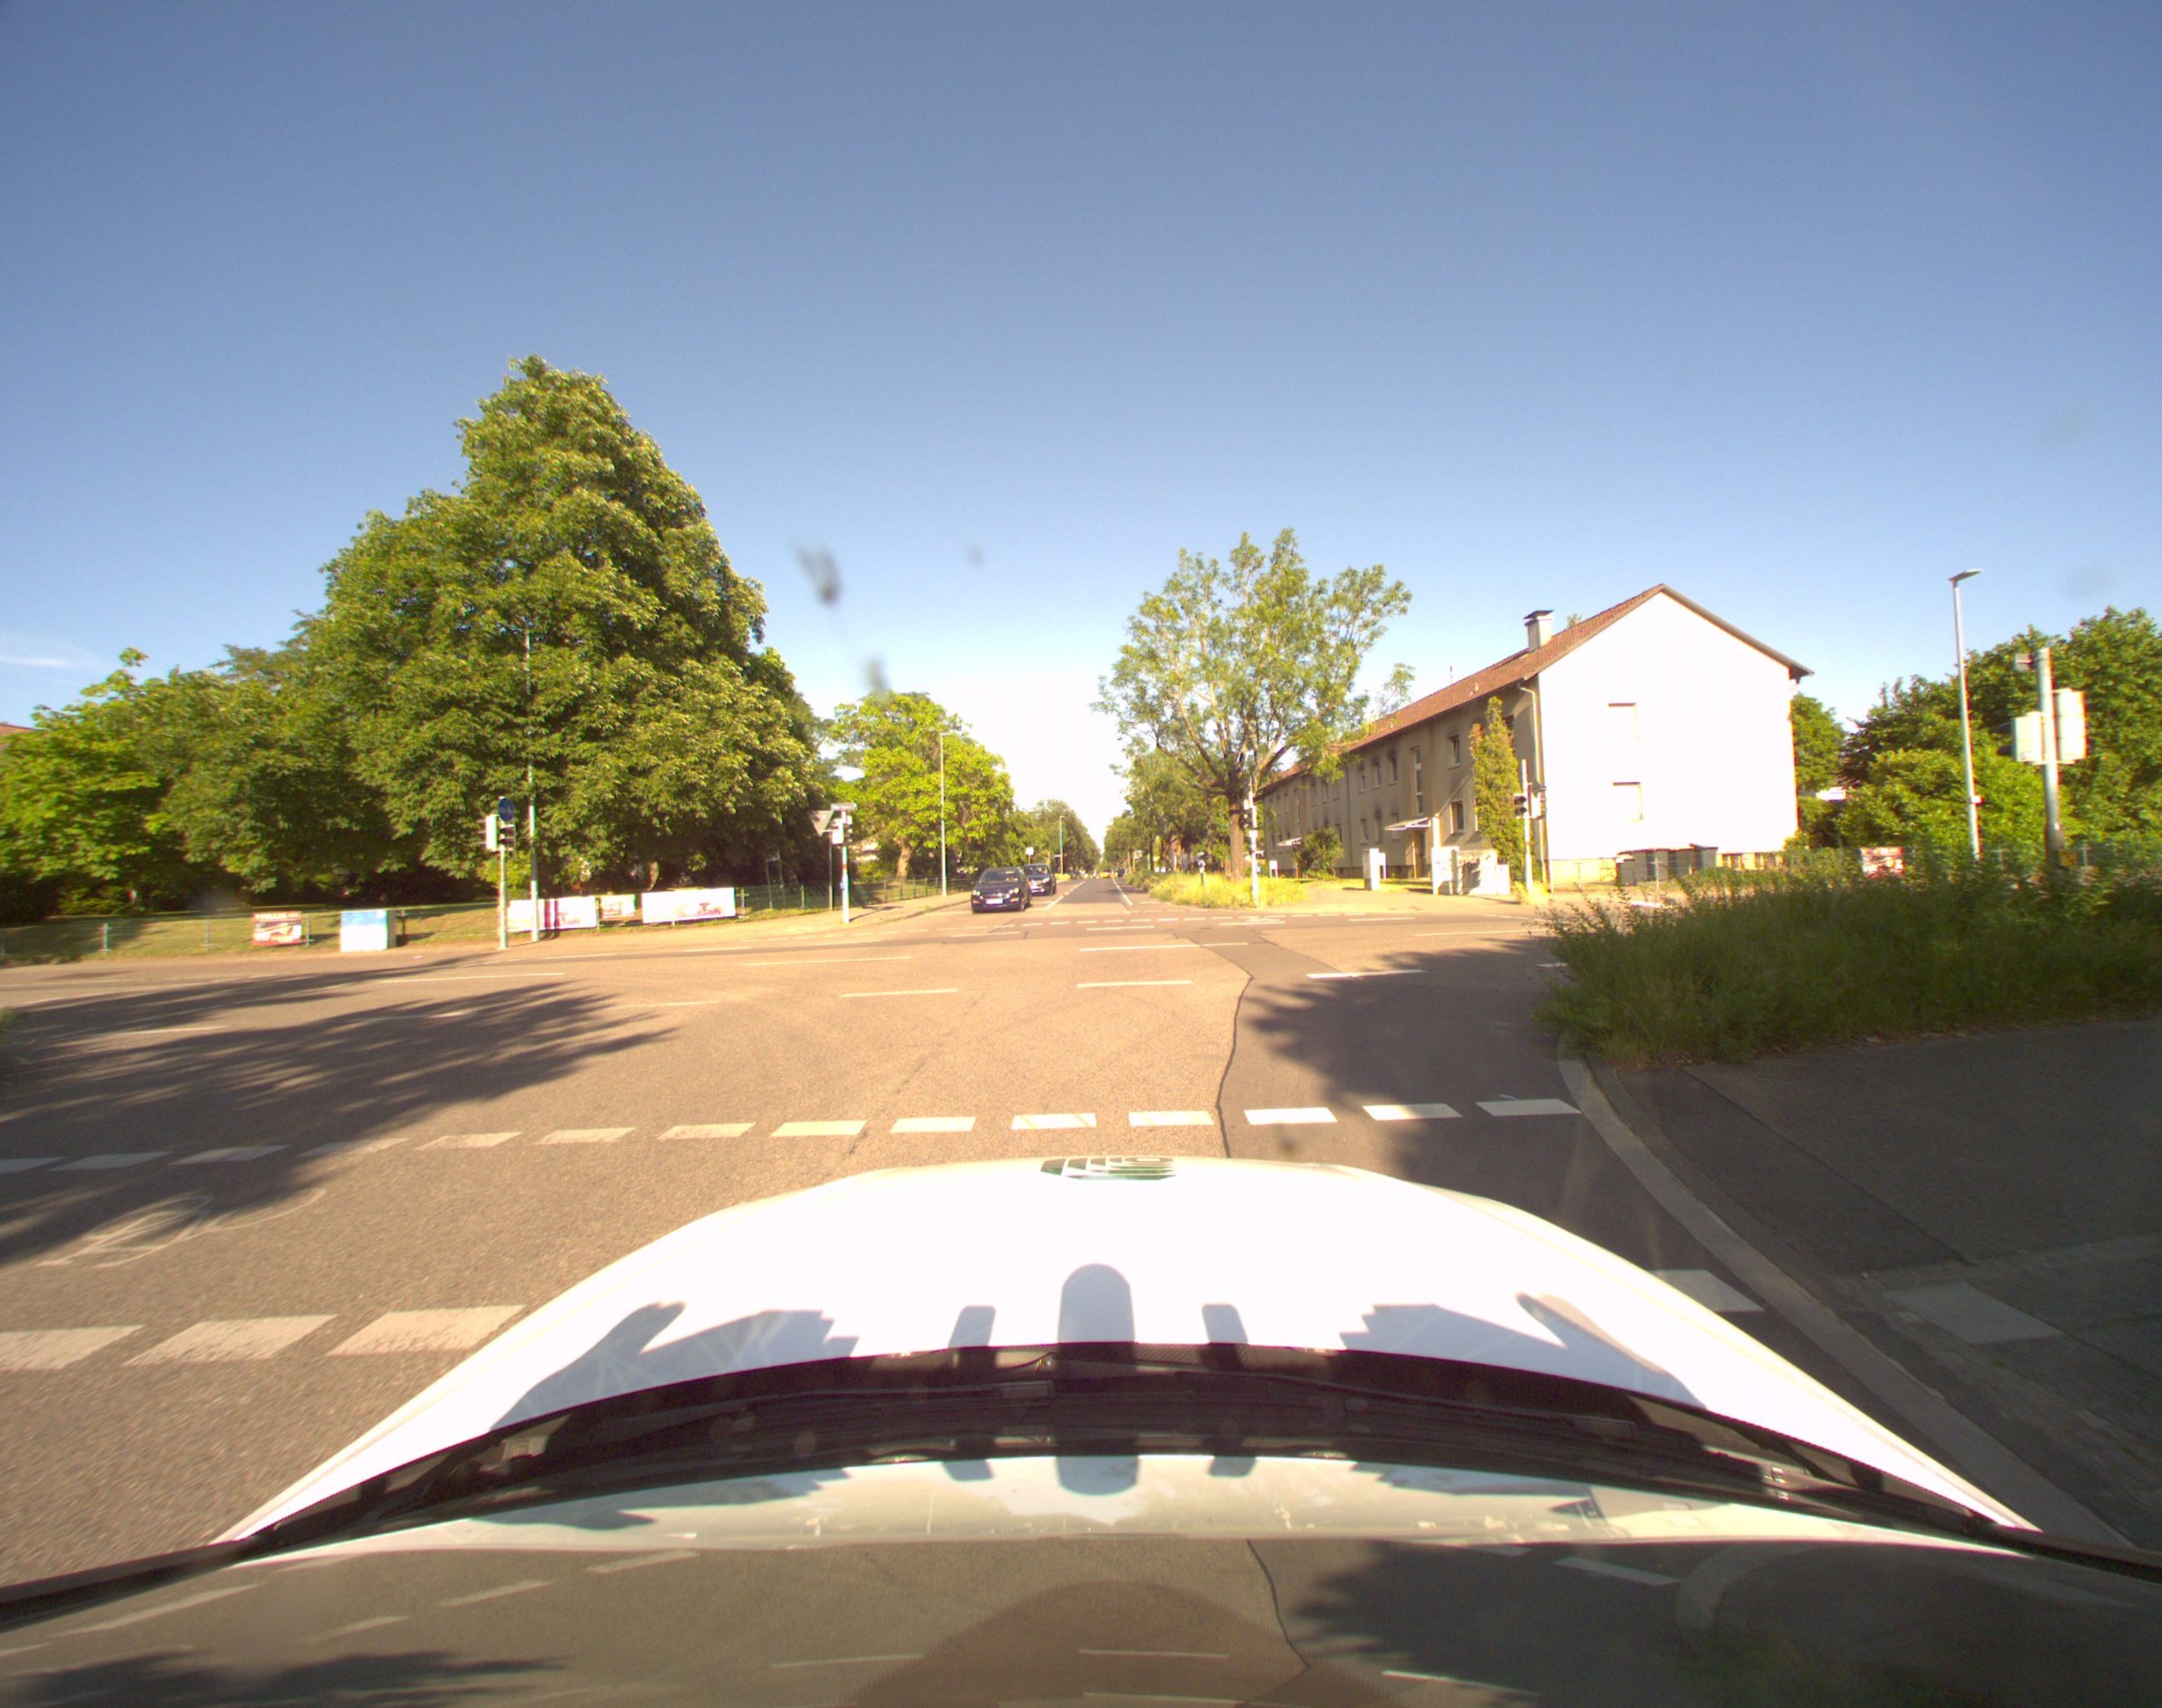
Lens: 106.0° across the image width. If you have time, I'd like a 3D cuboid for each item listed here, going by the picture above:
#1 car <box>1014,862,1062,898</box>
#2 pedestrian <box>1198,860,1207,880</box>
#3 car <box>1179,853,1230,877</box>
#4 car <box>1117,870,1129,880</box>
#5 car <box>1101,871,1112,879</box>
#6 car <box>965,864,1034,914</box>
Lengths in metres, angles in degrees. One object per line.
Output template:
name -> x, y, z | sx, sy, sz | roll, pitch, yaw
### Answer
car -> -2.130, 1.288, 41.592 | 1.806, 1.618, 4.397 | -4, -1, 4
pedestrian -> 10.772, 1.411, 72.184 | 0.635, 1.706, 0.612 | -4, -1, 0
car -> 14.415, 1.283, 95.260 | 5.581, 2.539, 2.264 | -2, -1, -3
car -> 7.558, 3.839, 146.486 | 1.846, 1.626, 4.470 | -3, -2, 1
car -> 4.539, 3.800, 145.374 | 1.883, 1.479, 3.885 | 0, -2, -2
car -> -2.667, 1.158, 27.451 | 1.800, 1.455, 3.850 | -3, -2, 1
